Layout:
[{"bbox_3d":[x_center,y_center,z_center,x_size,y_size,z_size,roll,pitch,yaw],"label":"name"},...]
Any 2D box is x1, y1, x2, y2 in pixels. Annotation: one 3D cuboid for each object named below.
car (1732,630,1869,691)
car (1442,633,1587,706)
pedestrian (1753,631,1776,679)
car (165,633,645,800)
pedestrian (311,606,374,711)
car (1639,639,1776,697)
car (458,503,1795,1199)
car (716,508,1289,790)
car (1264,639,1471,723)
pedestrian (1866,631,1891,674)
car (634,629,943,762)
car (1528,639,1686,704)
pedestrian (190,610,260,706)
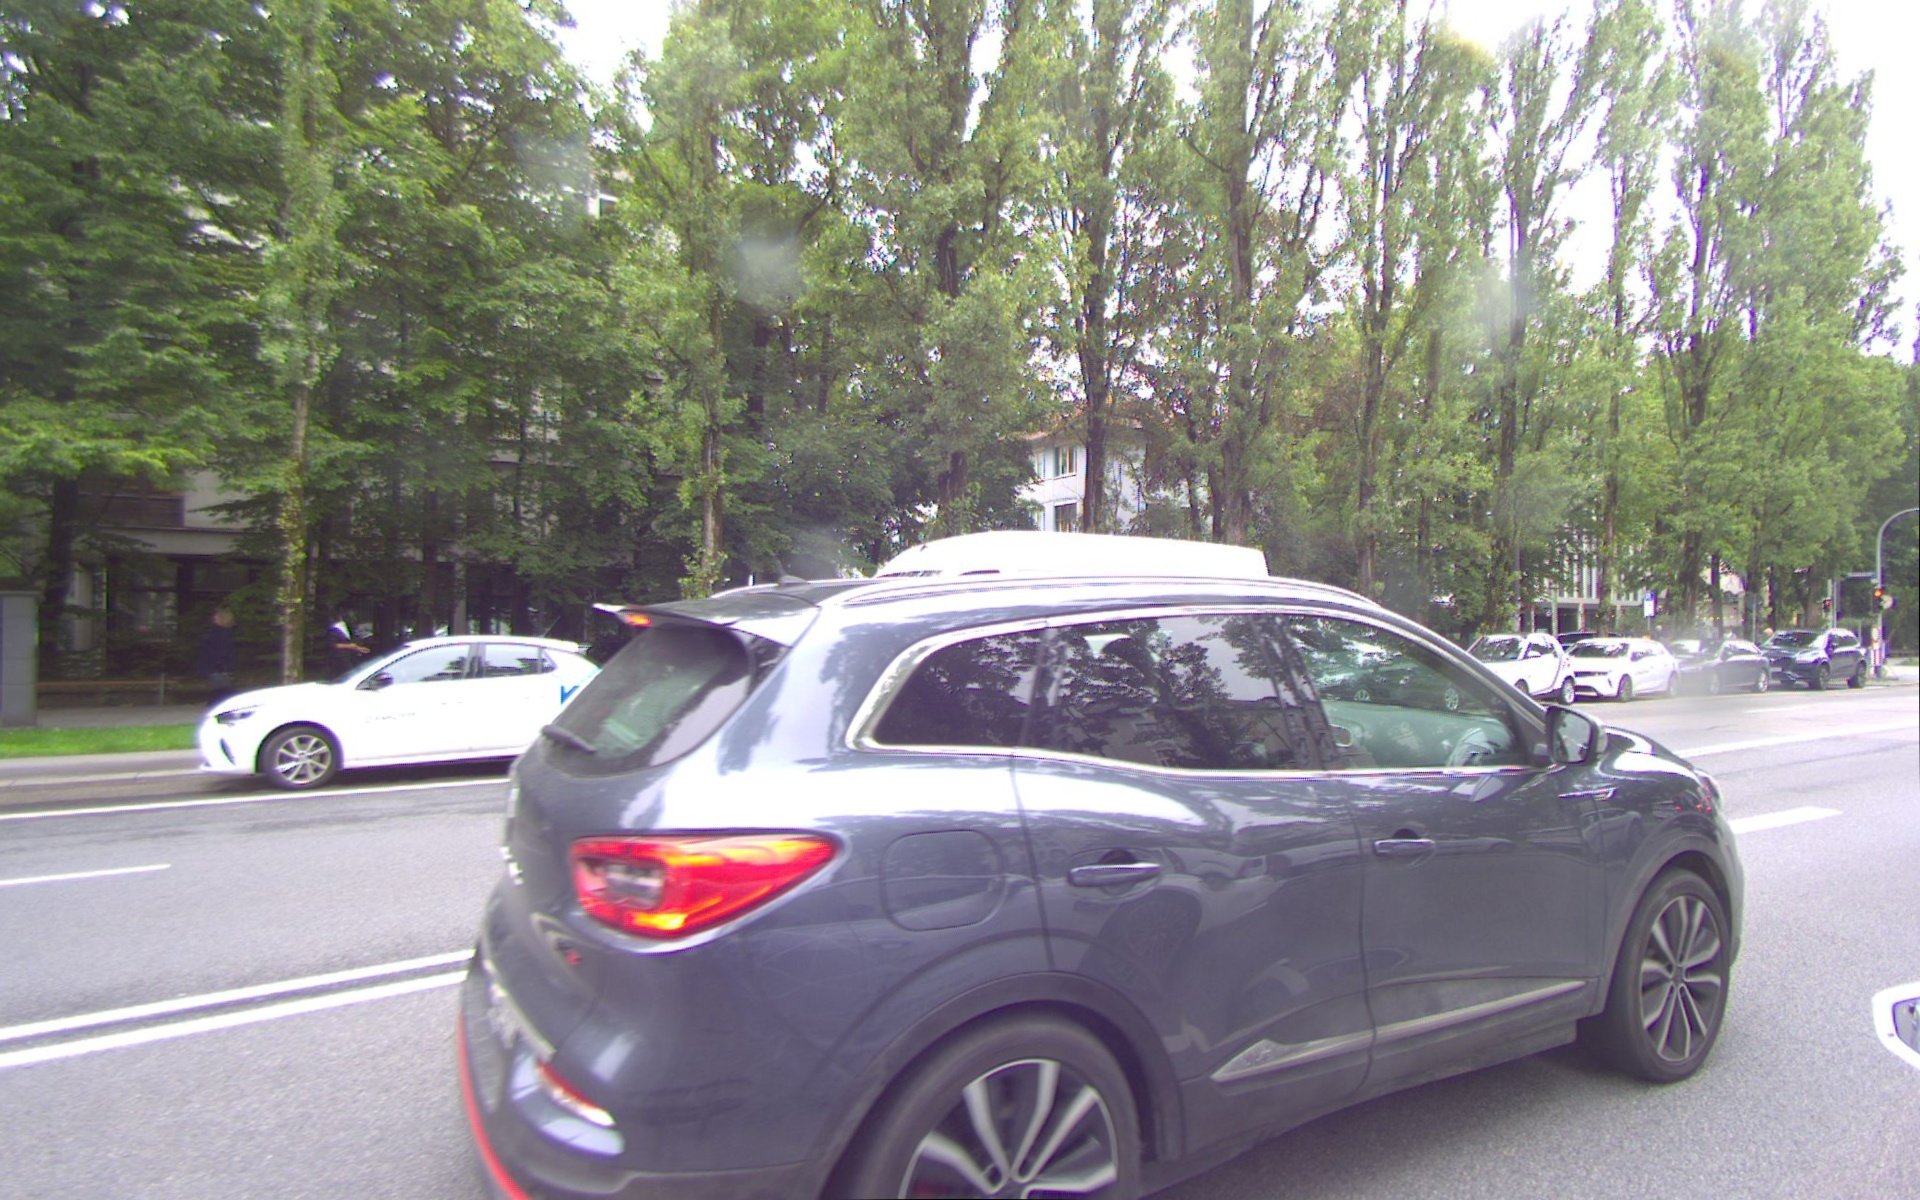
[{"bbox_3d":[24.947,1.764,29.763,4.646,1.675,1.838,1,-4,-34],"label":"car"},{"bbox_3d":[11.944,1.476,21.618,2.932,1.466,1.420,1,-4,-32],"label":"car"},{"bbox_3d":[26.298,1.788,32.841,0.390,1.548,0.463,1,-1,-30],"label":"pedestrian"},{"bbox_3d":[-5.715,1.123,10.764,4.187,1.471,1.761,1,-4,-33],"label":"car"},{"bbox_3d":[-10.905,1.014,17.772,0.879,1.795,0.733,1,0,-30],"label":"pedestrian"},{"bbox_3d":[19.911,1.771,26.724,4.123,1.407,1.614,1,-4,-34],"label":"car"},{"bbox_3d":[0.722,0.703,3.299,4.136,1.607,1.827,1,-1,-30],"label":"car"},{"bbox_3d":[0.742,0.550,11.771,6.686,2.515,2.215,1,-3,-33],"label":"car"},{"bbox_3d":[7.720,1.483,18.990,3.805,1.444,1.594,1,-4,-30],"label":"car"},{"bbox_3d":[32.847,1.861,35.926,0.530,1.505,0.515,1,-2,-30],"label":"pedestrian"},{"bbox_3d":[-2.160,1.140,12.863,3.547,1.470,1.700,1,-3,-33],"label":"car"},{"bbox_3d":[15.335,1.640,23.767,4.123,1.407,1.614,1,-4,-34],"label":"car"},{"bbox_3d":[-12.829,0.997,17.556,0.871,1.620,0.733,1,0,-30],"label":"pedestrian"}]
